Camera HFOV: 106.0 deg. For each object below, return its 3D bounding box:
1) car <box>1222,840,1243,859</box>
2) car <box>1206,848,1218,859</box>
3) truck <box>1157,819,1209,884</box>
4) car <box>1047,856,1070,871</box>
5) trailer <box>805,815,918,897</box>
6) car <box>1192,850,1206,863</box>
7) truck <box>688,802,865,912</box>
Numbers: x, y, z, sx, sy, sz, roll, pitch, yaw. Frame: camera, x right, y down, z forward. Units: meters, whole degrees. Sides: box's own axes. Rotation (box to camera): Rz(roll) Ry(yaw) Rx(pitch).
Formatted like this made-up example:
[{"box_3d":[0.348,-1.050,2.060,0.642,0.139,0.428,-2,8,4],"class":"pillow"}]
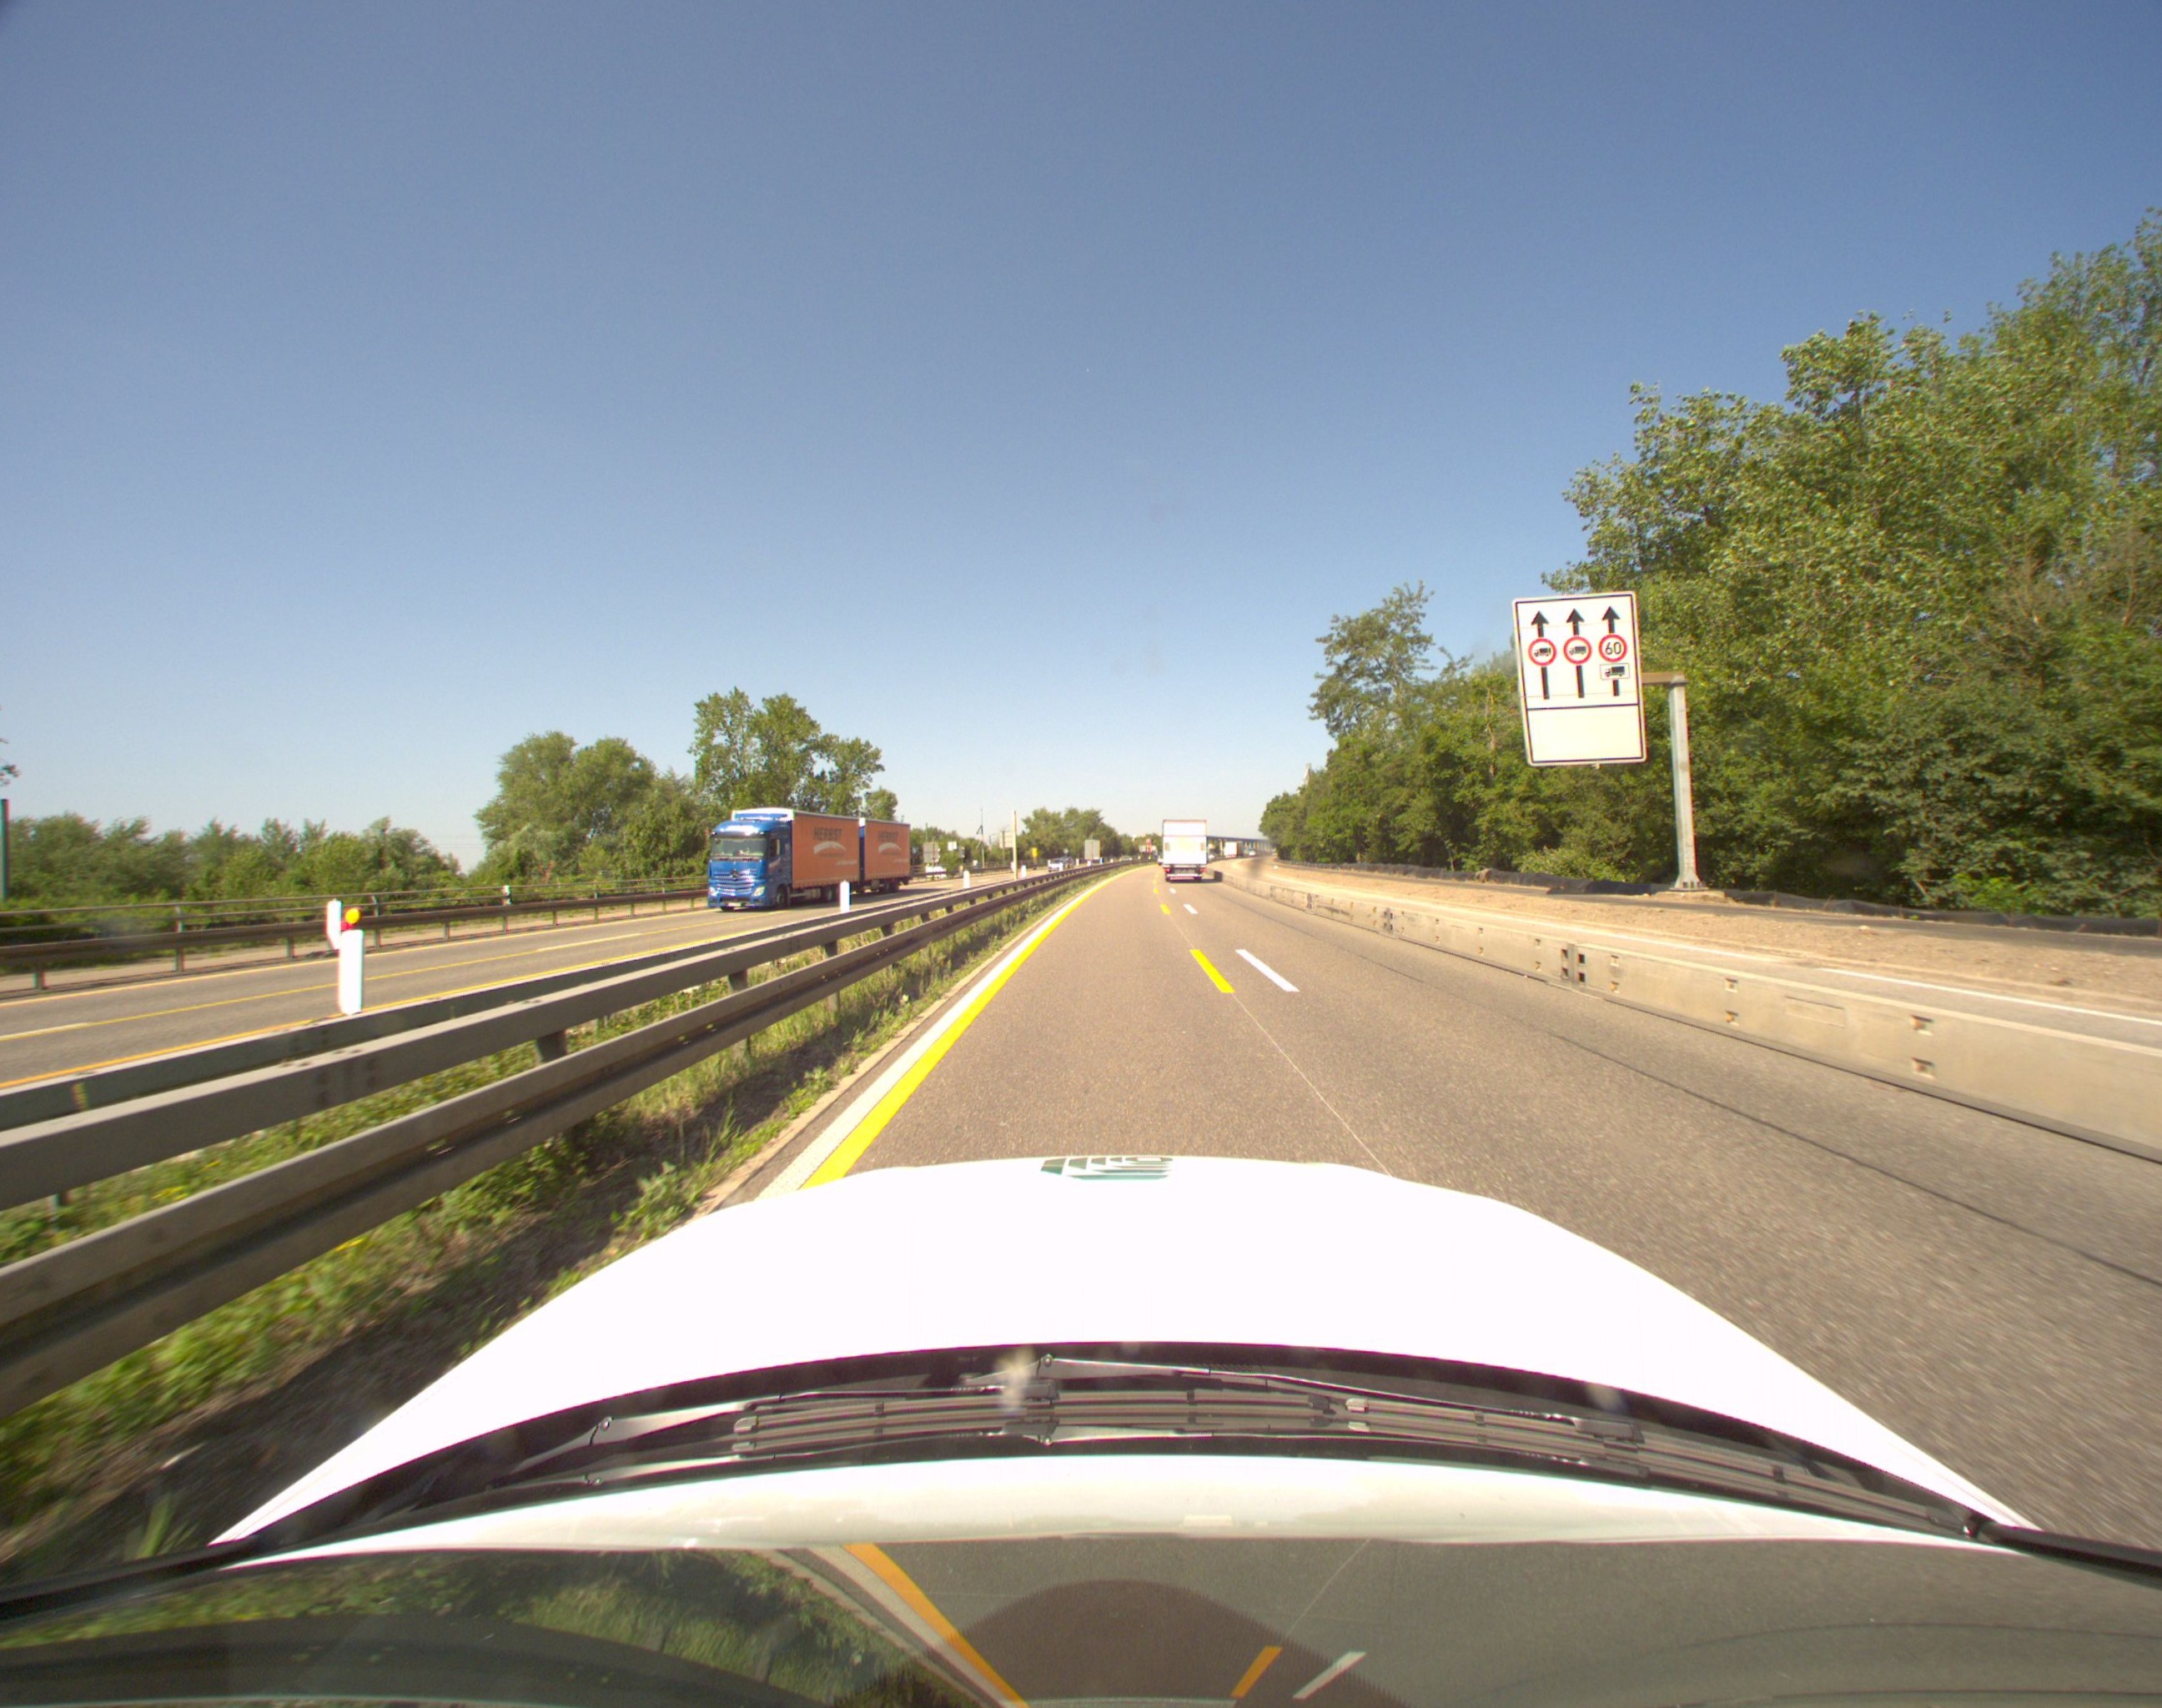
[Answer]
[{"box_3d":[36.914,-1.168,198.096,4.176,4.251,10.705,-3,0,15],"class":"car"},{"box_3d":[25.623,-0.095,159.202,1.979,2.013,4.017,-3,0,15],"class":"car"},{"box_3d":[5.938,-0.159,46.460,2.618,3.427,7.252,0,0,9],"class":"truck"},{"box_3d":[-2.646,1.068,96.084,1.899,1.651,4.385,-3,0,7],"class":"car"},{"box_3d":[-12.060,0.060,45.971,3.024,4.091,9.800,-1,0,4],"class":"trailer"},{"box_3d":[19.853,0.378,137.104,1.980,2.013,4.014,-3,0,12],"class":"car"},{"box_3d":[-12.820,0.099,35.834,3.024,4.091,10.637,-1,0,4],"class":"truck"}]
